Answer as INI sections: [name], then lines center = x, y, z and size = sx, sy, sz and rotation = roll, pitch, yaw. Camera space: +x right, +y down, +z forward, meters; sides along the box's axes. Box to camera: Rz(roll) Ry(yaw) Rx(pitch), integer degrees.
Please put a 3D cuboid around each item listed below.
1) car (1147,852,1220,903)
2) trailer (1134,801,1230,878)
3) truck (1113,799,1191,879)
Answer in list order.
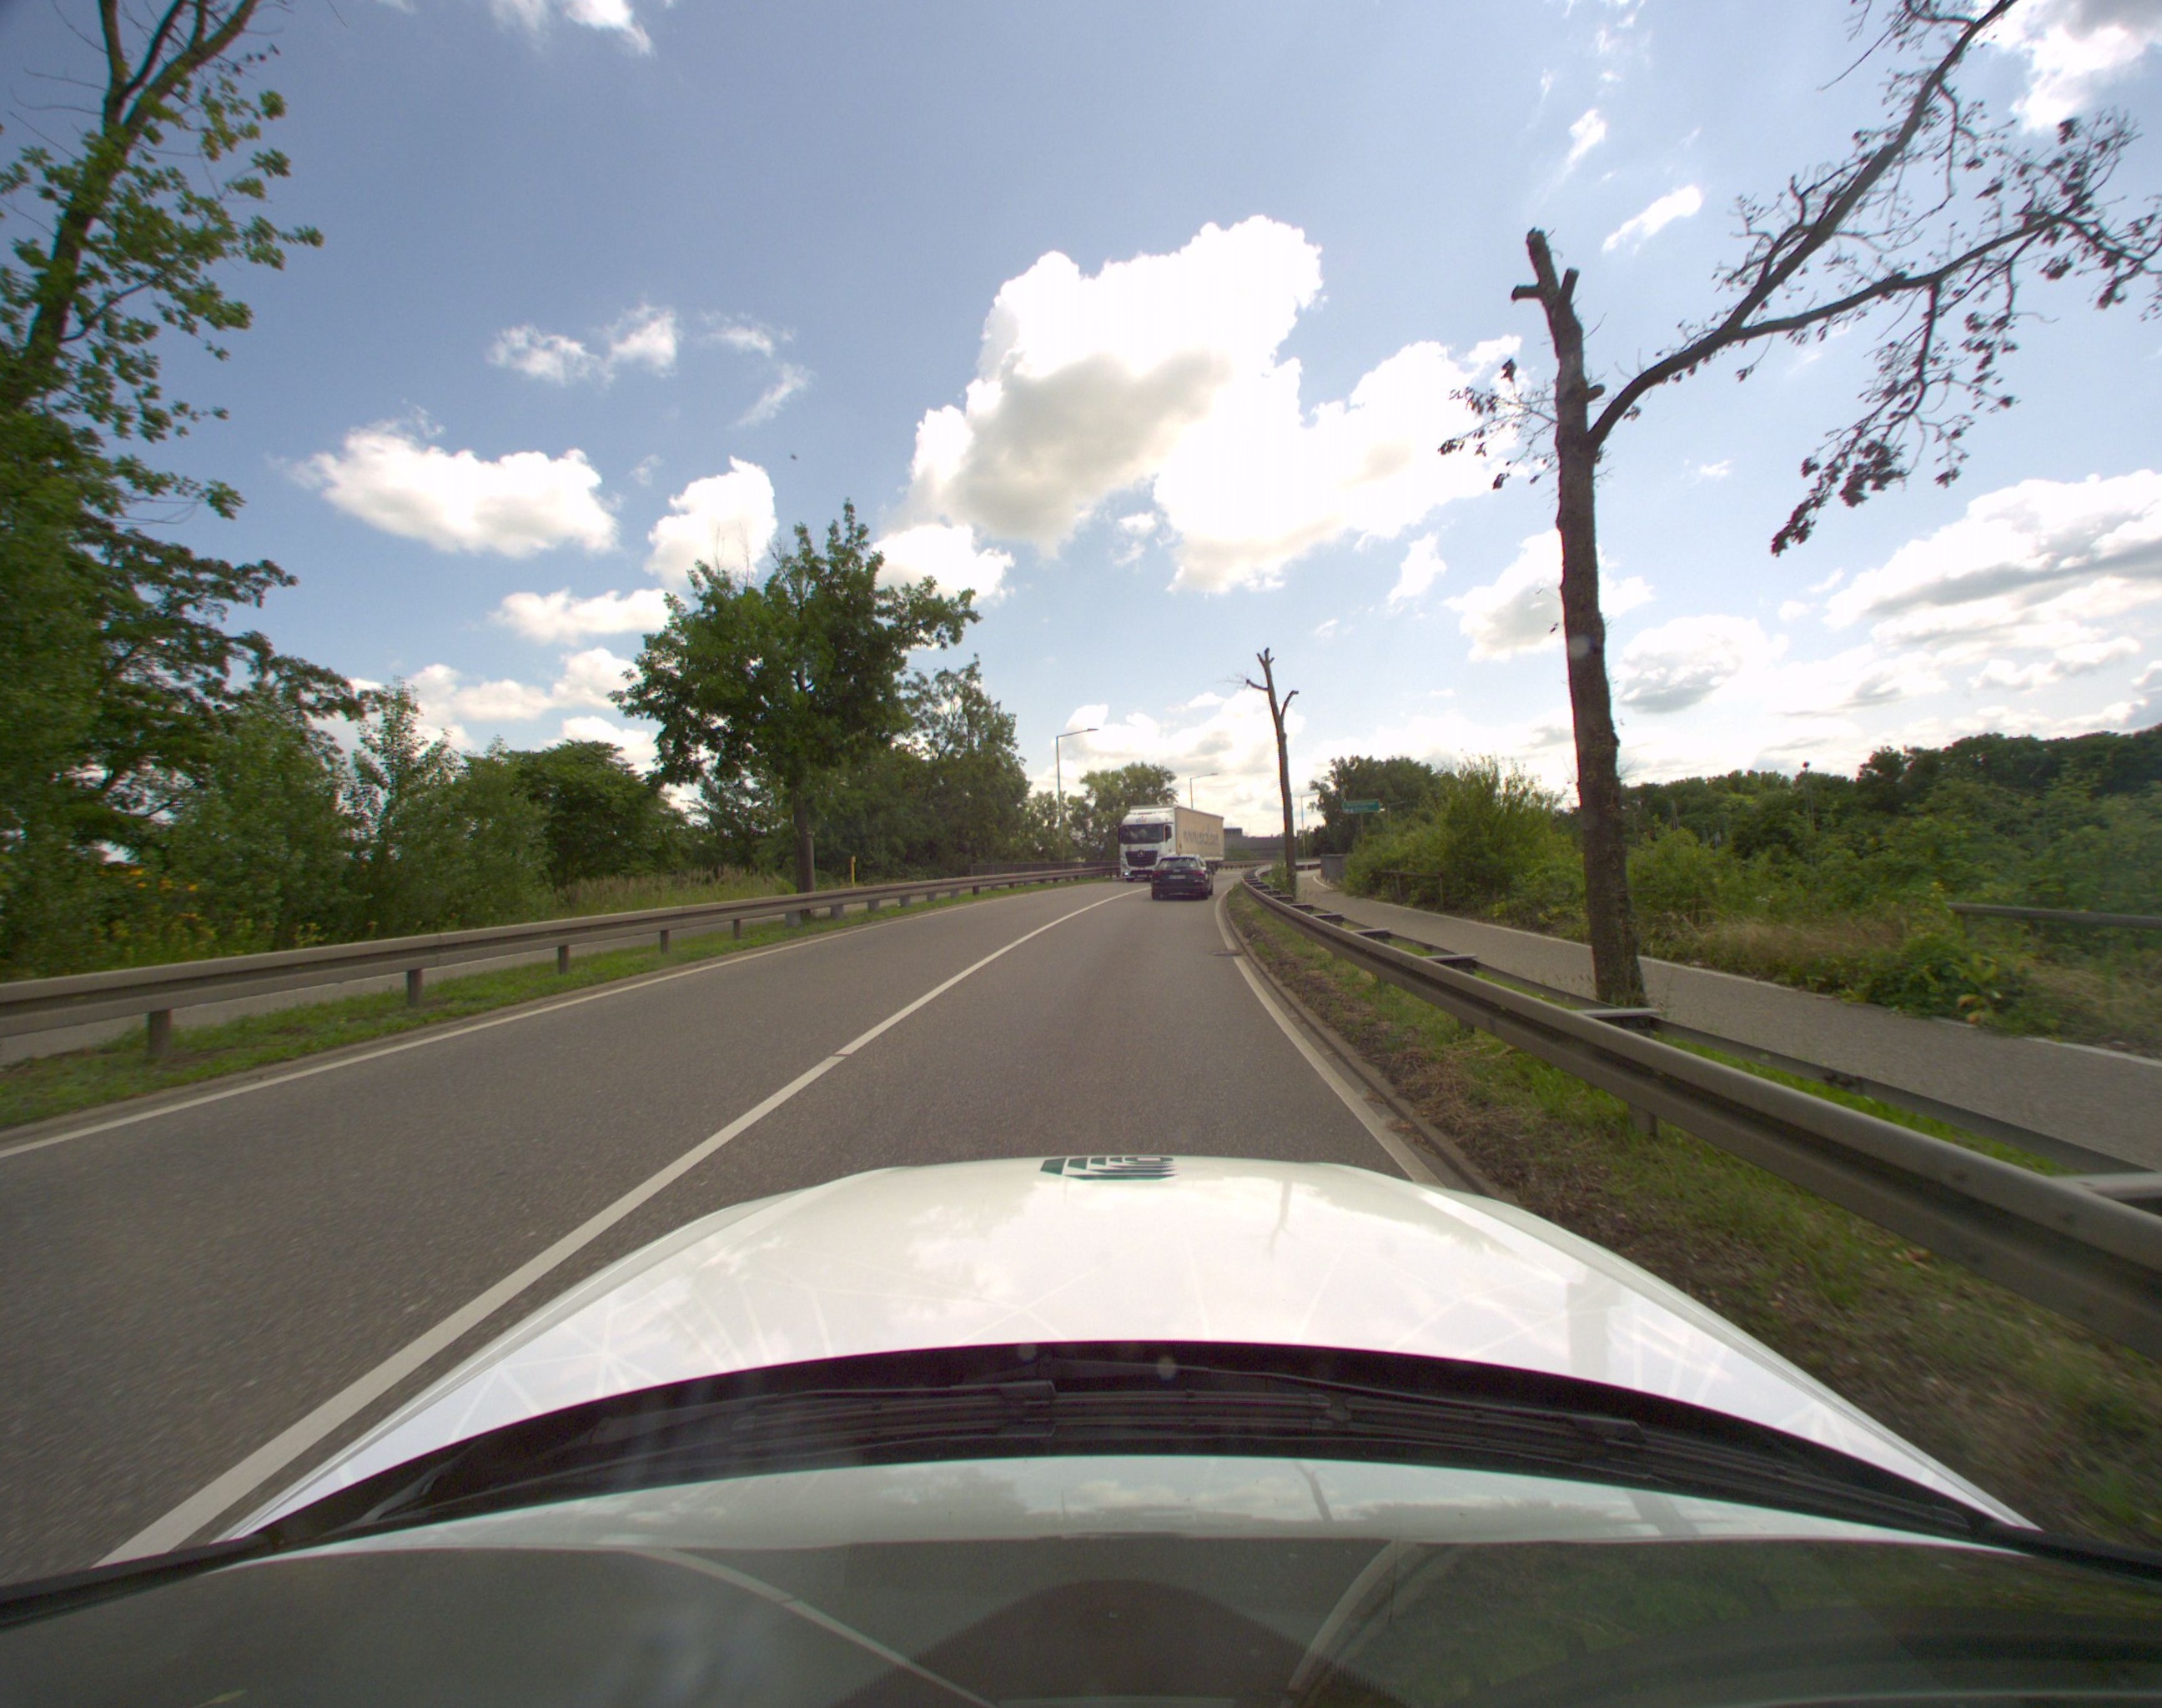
[car]
center = 3.465, 0.695, 26.875
size = 1.814, 1.491, 4.224
rotation = 0, 1, 15
[trailer]
center = 6.857, -0.793, 52.274
size = 2.683, 4.280, 14.305
rotation = -1, 0, 21
[truck]
center = 4.044, -0.752, 45.050
size = 2.737, 4.134, 5.682
rotation = -1, 0, 21
